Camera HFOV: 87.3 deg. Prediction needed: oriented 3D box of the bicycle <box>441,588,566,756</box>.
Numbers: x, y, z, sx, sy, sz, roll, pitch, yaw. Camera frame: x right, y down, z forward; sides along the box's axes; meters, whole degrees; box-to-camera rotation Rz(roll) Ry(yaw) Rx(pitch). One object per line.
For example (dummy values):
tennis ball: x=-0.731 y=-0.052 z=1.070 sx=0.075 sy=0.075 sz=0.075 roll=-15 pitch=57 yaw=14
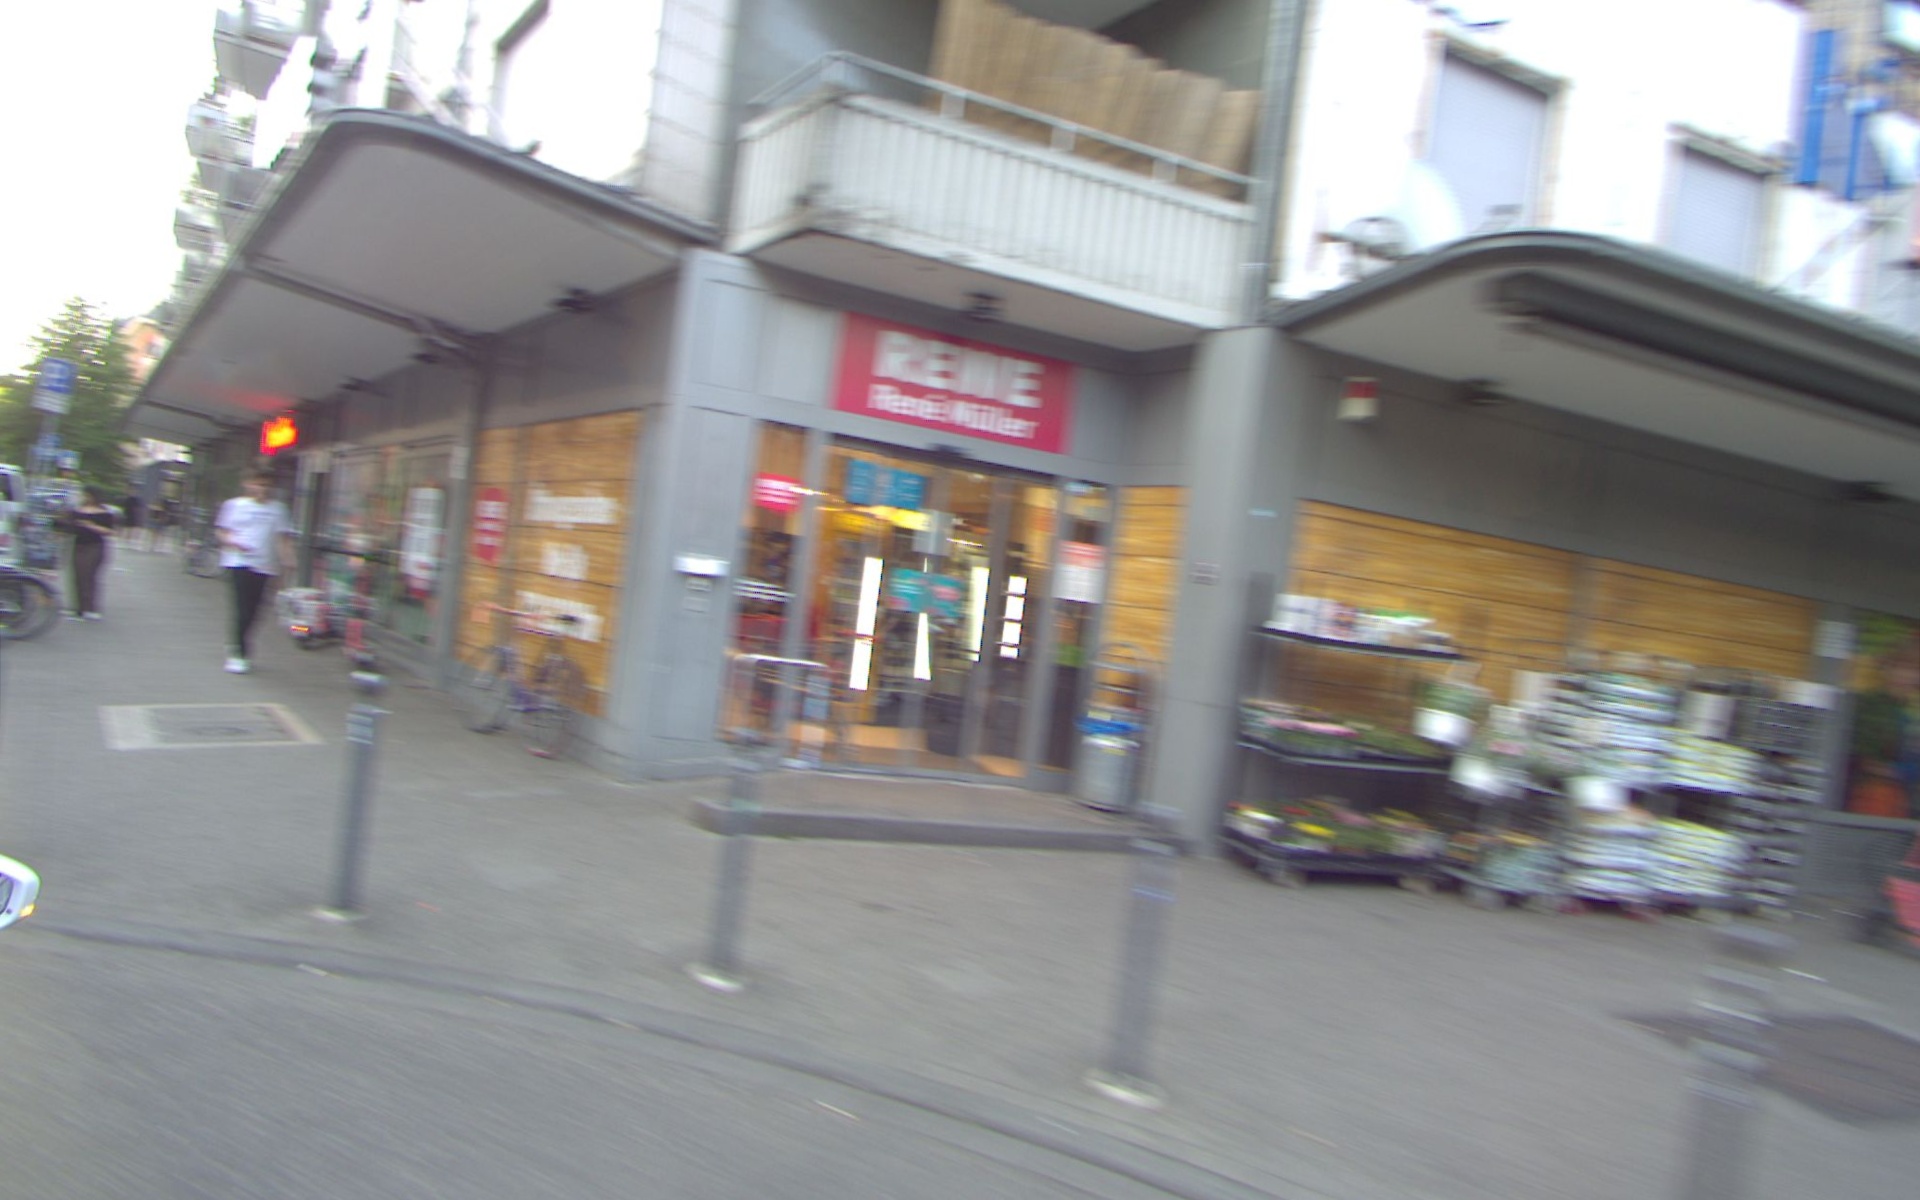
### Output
bicycle: x=-3.464 y=0.531 z=7.609 sx=0.951 sy=1.125 sz=0.289 roll=7 pitch=-1 yaw=36

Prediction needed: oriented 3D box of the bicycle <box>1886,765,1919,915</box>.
bicycle: x=8.206 y=2.012 z=7.779 sx=0.342 sy=1.216 sz=1.811 roll=8 pitch=-2 yaw=3

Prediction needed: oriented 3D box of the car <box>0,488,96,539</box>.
car: x=-44.196 y=-4.192 z=48.262 sx=3.978 sy=1.769 sz=1.818 roll=10 pitch=-2 yaw=-43

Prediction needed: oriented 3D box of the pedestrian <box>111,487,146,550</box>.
pedestrian: x=-25.663 y=-2.509 z=31.040 sx=0.624 sy=1.832 sz=0.780 roll=9 pitch=-1 yaw=-42

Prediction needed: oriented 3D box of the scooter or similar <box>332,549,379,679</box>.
scooter or similar: x=-6.328 y=0.125 z=10.514 sx=0.218 sy=1.253 sz=0.957 roll=8 pitch=1 yaw=-35

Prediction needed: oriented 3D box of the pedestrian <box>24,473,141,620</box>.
pedestrian: x=-10.874 y=-0.643 z=12.494 sx=0.713 sy=1.682 sz=0.699 roll=8 pitch=-1 yaw=-22

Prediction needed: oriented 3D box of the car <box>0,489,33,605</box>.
car: x=-15.025 y=-0.966 z=14.828 sx=1.830 sy=1.559 sz=3.952 roll=10 pitch=-2 yaw=-43

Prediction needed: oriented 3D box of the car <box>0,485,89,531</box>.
car: x=-49.108 y=-4.926 z=53.499 sx=3.978 sy=1.769 sz=1.818 roll=10 pitch=-2 yaw=-43

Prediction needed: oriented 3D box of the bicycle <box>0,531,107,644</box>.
bicycle: x=-9.752 y=-0.167 z=9.544 sx=0.608 sy=1.052 sz=2.454 roll=7 pitch=2 yaw=43

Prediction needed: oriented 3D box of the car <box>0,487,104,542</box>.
car: x=-40.856 y=-3.826 z=44.776 sx=3.978 sy=1.769 sz=1.818 roll=10 pitch=-2 yaw=-43

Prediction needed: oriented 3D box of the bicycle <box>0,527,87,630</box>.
bicycle: x=-10.737 y=-0.288 z=10.443 sx=0.608 sy=1.052 sz=2.454 roll=7 pitch=2 yaw=43

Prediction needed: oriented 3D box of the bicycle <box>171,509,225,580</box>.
bicycle: x=-16.893 y=-1.255 z=22.280 sx=0.554 sy=1.424 sz=2.069 roll=9 pitch=-2 yaw=-44

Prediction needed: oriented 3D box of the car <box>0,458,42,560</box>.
car: x=-20.802 y=-2.053 z=21.214 sx=1.938 sy=1.956 sz=3.952 roll=9 pitch=-2 yaw=-43

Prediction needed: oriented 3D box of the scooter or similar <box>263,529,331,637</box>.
scooter or similar: x=-8.867 y=-0.250 z=13.424 sx=0.438 sy=1.305 sz=1.649 roll=9 pitch=-1 yaw=-39

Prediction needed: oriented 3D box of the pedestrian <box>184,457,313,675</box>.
pedestrian: x=-6.801 y=-0.315 z=9.618 sx=0.718 sy=1.928 sz=0.694 roll=9 pitch=-1 yaw=-42

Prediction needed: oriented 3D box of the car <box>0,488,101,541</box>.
car: x=-42.363 y=-3.990 z=46.387 sx=3.978 sy=1.769 sz=1.818 roll=10 pitch=-2 yaw=-43

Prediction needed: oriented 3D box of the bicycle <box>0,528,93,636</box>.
bicycle: x=-10.270 y=-0.237 z=9.976 sx=0.608 sy=1.052 sz=2.454 roll=7 pitch=2 yaw=43

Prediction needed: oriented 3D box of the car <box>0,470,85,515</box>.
car: x=-51.065 y=-5.973 z=55.514 sx=3.978 sy=1.769 sz=1.818 roll=10 pitch=-2 yaw=-43

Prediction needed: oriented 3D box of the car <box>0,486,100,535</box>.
car: x=-45.972 y=-4.499 z=50.523 sx=3.978 sy=1.769 sz=1.818 roll=10 pitch=-2 yaw=-43

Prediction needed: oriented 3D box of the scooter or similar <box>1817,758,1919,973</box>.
scooter or similar: x=6.447 y=1.792 z=6.442 sx=0.318 sy=1.282 sz=1.280 roll=8 pitch=1 yaw=-27

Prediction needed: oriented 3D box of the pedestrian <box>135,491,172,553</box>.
pedestrian: x=-24.984 y=-2.402 z=31.167 sx=0.630 sy=1.832 sz=0.481 roll=8 pitch=-1 yaw=-29
